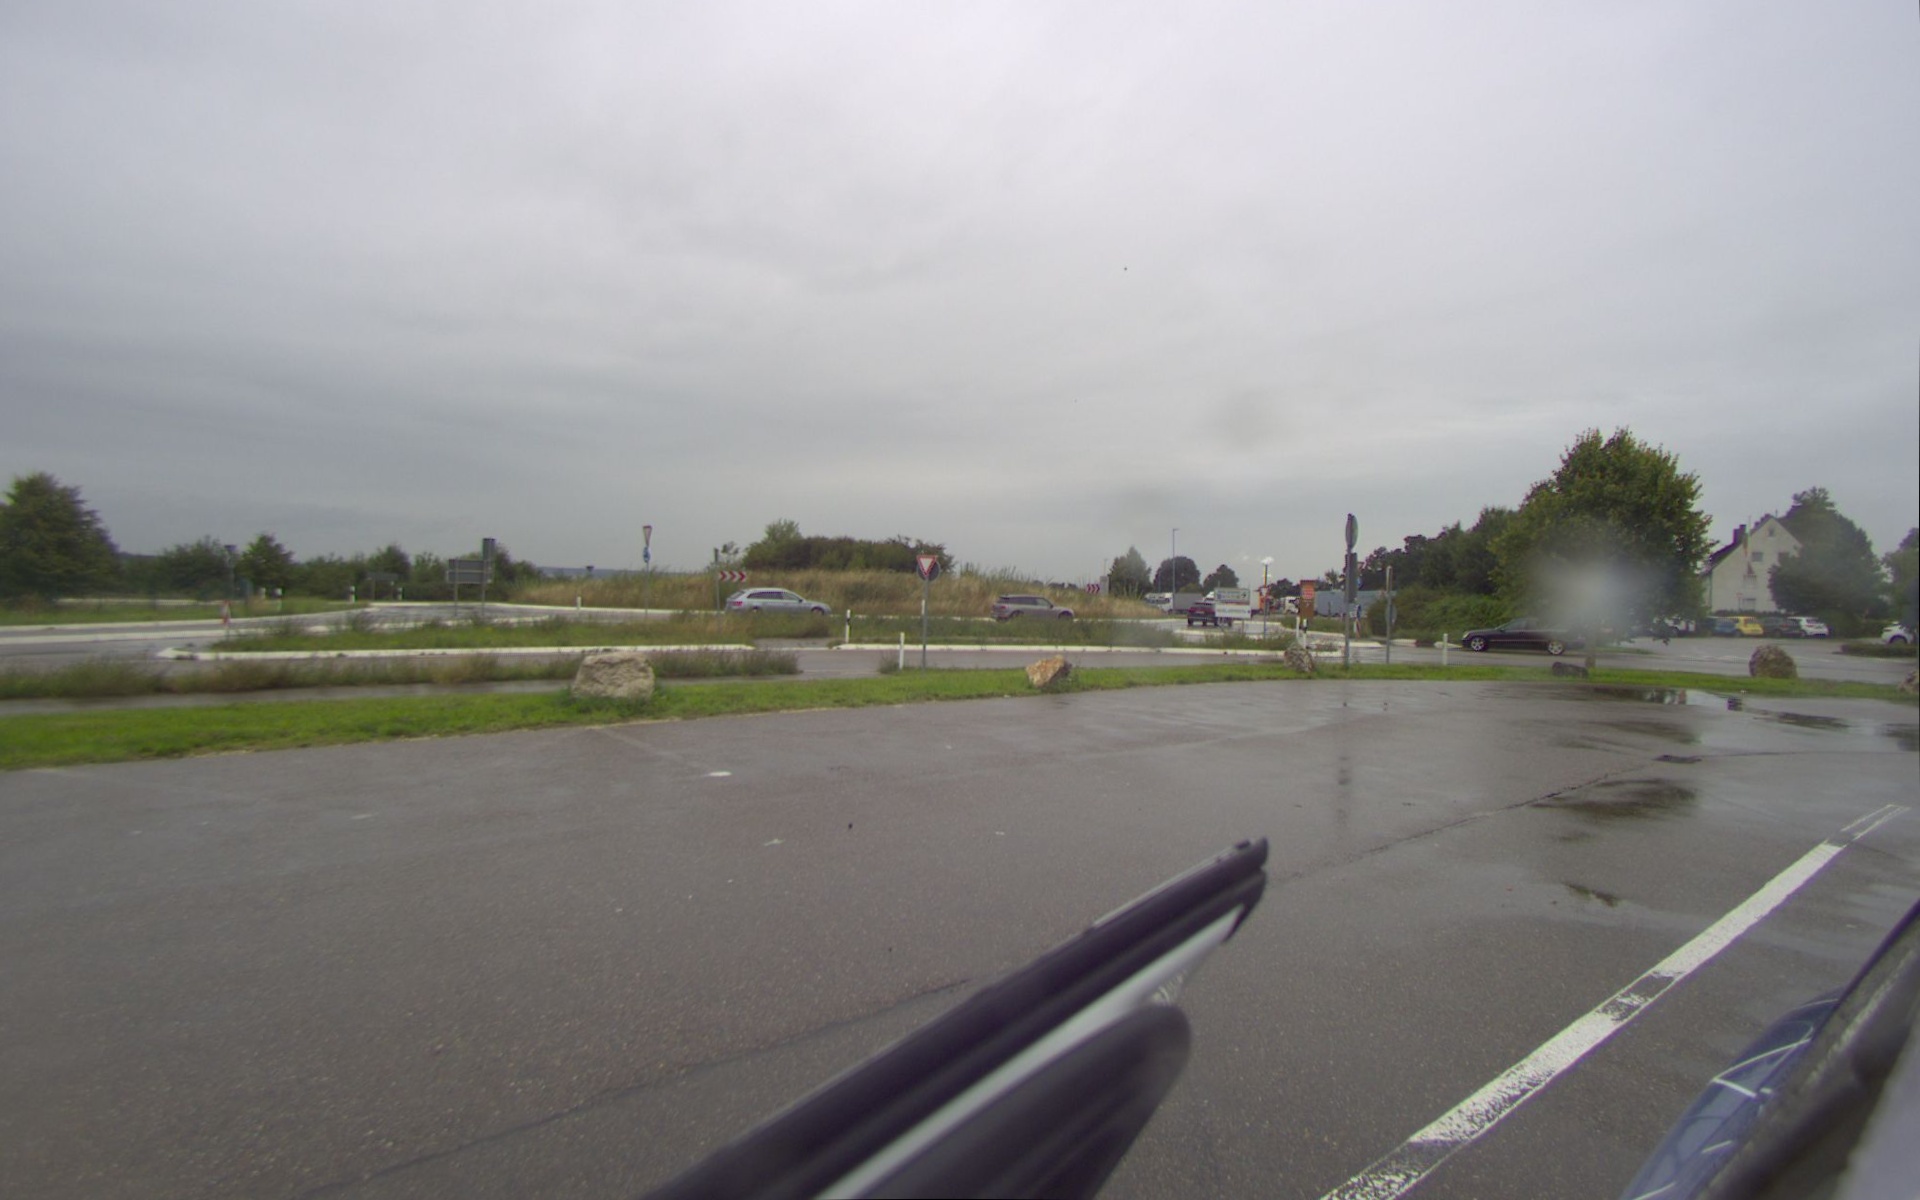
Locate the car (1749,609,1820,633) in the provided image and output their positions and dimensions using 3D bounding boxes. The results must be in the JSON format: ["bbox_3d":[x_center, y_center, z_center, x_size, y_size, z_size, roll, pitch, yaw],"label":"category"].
[{"bbox_3d":[57.838,1.455,71.081,1.715,1.590,3.891,1,0,-3],"label":"car"}]

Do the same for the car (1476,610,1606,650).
[{"bbox_3d":[22.949,1.157,40.022,4.332,1.443,1.685,1,0,35],"label":"car"}]

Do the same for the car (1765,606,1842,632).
[{"bbox_3d":[59.858,1.304,71.934,1.951,1.750,4.003,1,0,-4],"label":"car"}]

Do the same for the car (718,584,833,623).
[{"bbox_3d":[-8.198,0.164,45.029,4.567,1.500,2.003,2,1,-29],"label":"car"}]

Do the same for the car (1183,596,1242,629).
[{"bbox_3d":[15.106,0.710,60.342,1.880,1.704,4.613,3,3,35],"label":"car"}]

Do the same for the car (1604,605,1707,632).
[{"bbox_3d":[46.128,1.206,67.229,1.966,1.744,5.366,2,-1,-42],"label":"car"}]

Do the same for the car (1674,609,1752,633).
[{"bbox_3d":[52.762,1.461,71.022,1.962,1.570,4.648,1,-1,-1],"label":"car"}]

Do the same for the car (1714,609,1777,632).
[{"bbox_3d":[55.264,1.418,71.283,1.635,1.569,3.724,1,0,2],"label":"car"}]

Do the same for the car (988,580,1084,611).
[{"bbox_3d":[3.628,-0.224,48.524,4.219,1.340,1.761,0,3,-24],"label":"car"}]

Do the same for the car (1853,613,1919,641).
[{"bbox_3d":[51.365,1.470,54.852,1.819,1.443,4.350,1,0,-44],"label":"car"}]

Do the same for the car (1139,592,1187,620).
[{"bbox_3d":[15.651,0.440,78.224,1.958,2.039,4.008,1,0,-18],"label":"car"}]
